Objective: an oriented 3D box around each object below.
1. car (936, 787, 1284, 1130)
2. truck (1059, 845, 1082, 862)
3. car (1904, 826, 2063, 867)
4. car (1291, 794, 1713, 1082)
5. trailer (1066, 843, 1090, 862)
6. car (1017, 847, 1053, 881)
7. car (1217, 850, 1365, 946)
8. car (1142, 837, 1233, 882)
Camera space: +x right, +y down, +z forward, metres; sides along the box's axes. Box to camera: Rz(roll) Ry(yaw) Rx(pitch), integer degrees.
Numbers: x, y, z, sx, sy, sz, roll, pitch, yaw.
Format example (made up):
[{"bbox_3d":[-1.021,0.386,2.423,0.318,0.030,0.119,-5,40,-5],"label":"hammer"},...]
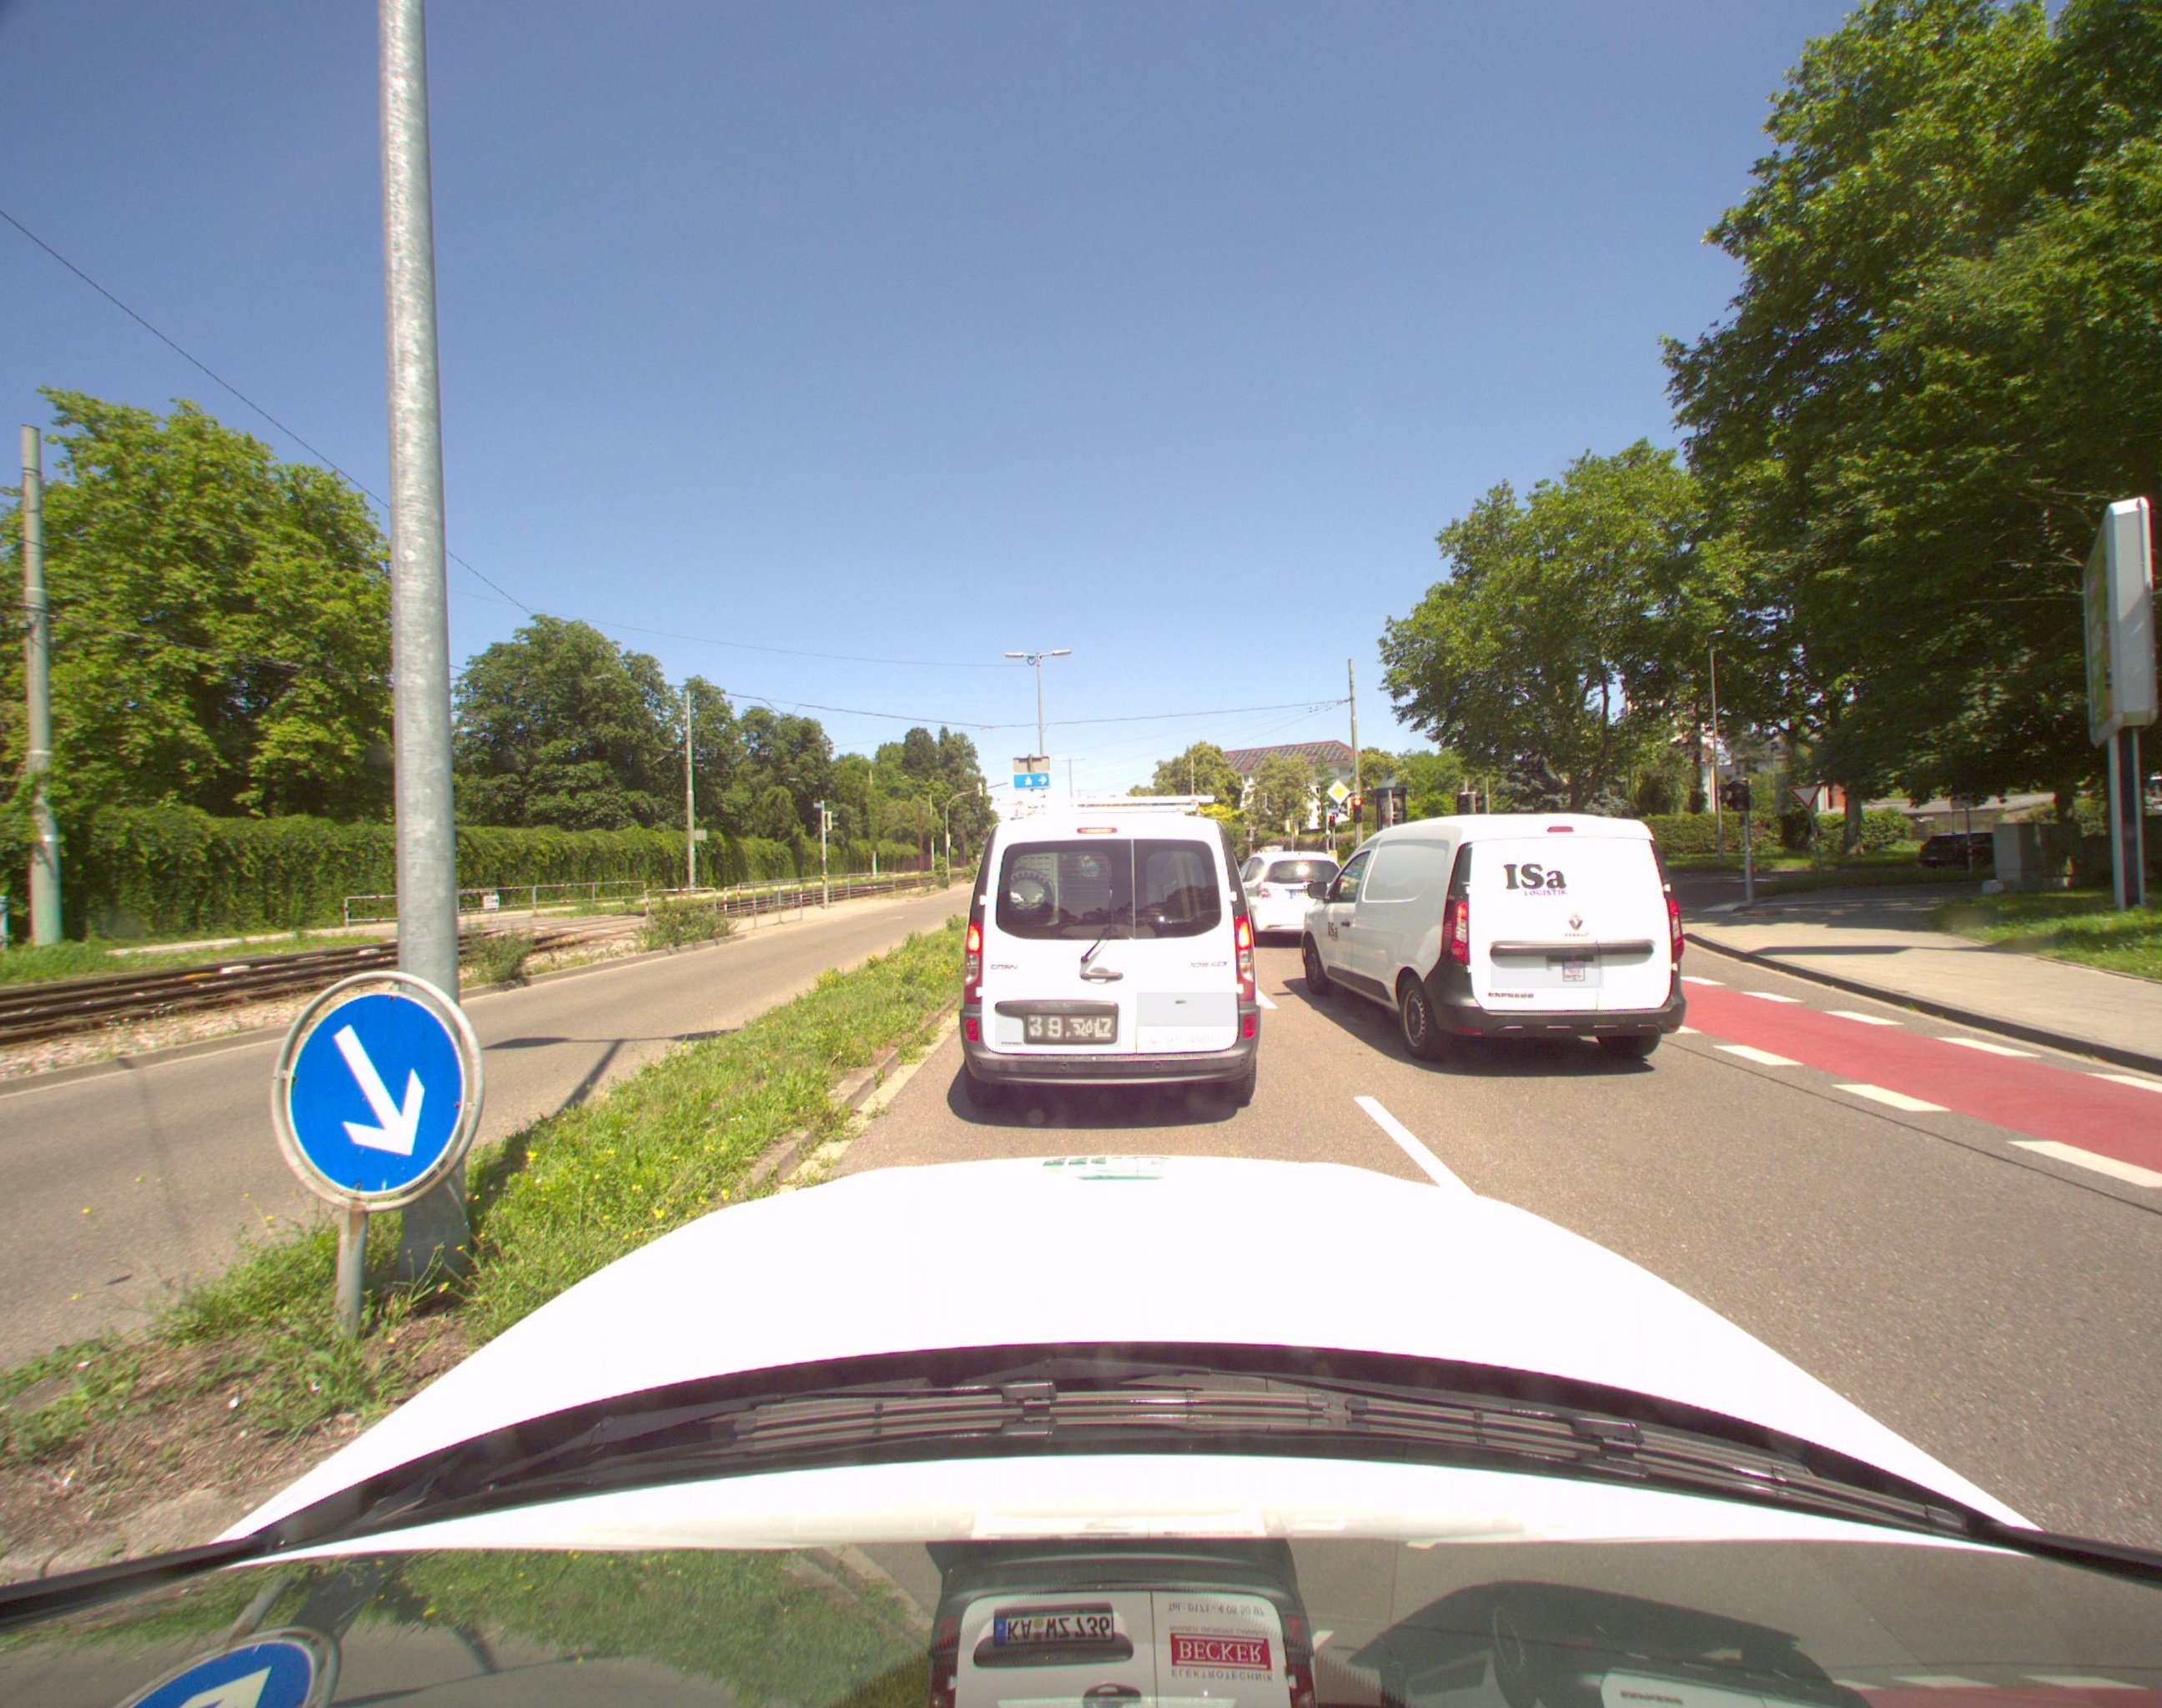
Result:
[{"bbox_3d":[0.195,0.567,6.326,1.860,1.836,3.849,-1,0,1],"label":"car"},{"bbox_3d":[-2.560,-0.064,190.684,3.579,3.632,8.772,-2,0,-12],"label":"truck"},{"bbox_3d":[34.628,-0.275,31.356,3.848,1.311,1.701,-3,0,10],"label":"car"},{"bbox_3d":[3.237,0.543,7.273,1.704,1.830,4.013,-1,0,0],"label":"car"},{"bbox_3d":[-0.715,-0.263,182.034,3.532,4.050,8.936,-2,0,-13],"label":"trailer"},{"bbox_3d":[-3.002,0.621,52.460,1.992,2.013,3.990,-2,0,-7],"label":"car"},{"bbox_3d":[3.609,0.686,14.674,1.749,1.486,4.002,0,0,2],"label":"car"},{"bbox_3d":[4.966,0.276,38.488,2.010,2.013,3.955,-2,0,-38],"label":"car"}]
